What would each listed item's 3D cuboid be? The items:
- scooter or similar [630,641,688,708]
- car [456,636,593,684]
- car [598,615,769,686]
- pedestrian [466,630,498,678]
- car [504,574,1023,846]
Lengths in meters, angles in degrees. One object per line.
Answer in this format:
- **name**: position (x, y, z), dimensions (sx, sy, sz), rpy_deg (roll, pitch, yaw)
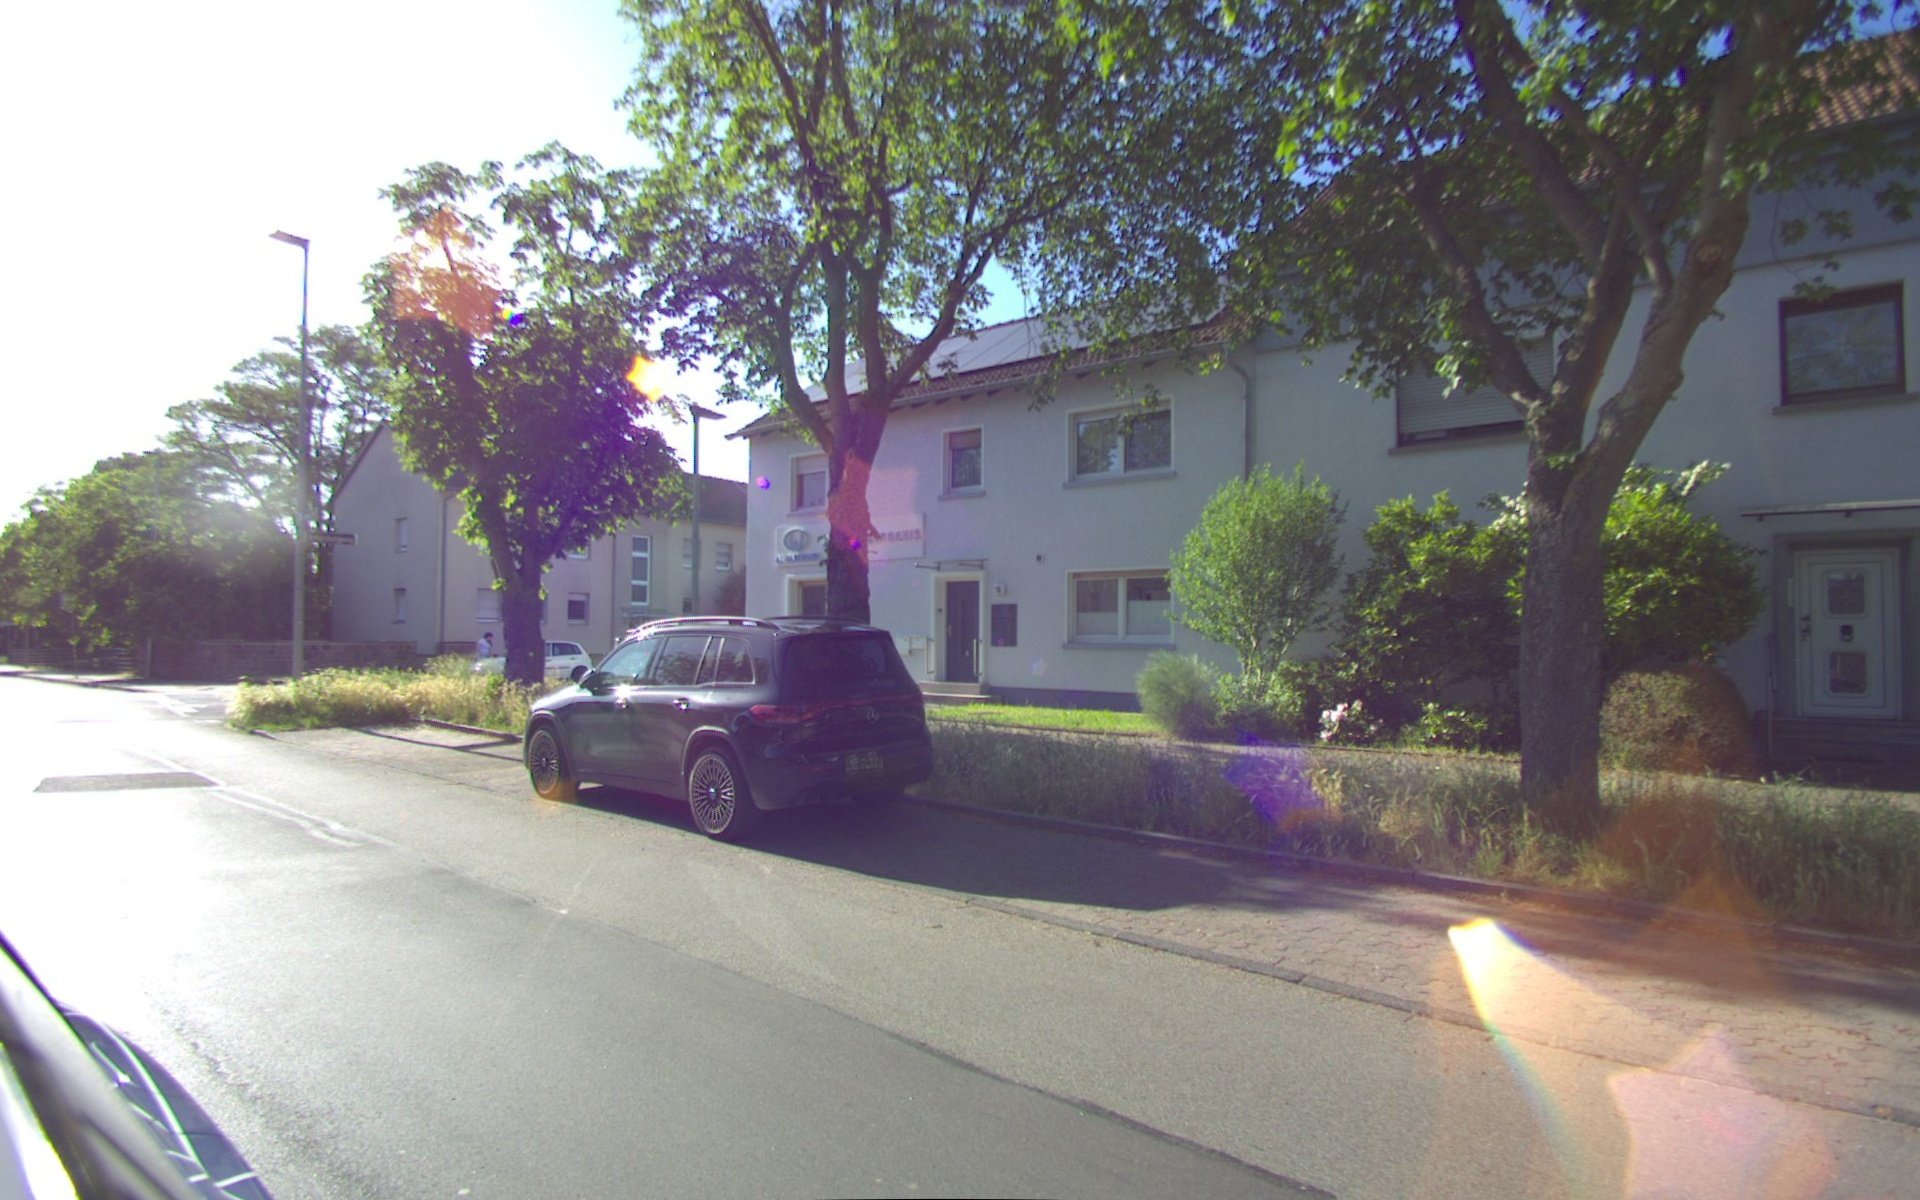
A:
- **scooter or similar**: position (-4.673, 1.144, 15.670), dimensions (0.996, 1.008, 0.332), rpy_deg (-2, -3, 38)
- **car**: position (-14.356, 1.975, 33.509), dimensions (1.868, 1.490, 3.729), rpy_deg (-4, -5, 39)
- **car**: position (-7.898, 1.465, 29.206), dimensions (1.997, 1.852, 4.445), rpy_deg (-6, -5, 38)
- **pedestrian**: position (-16.315, 1.838, 34.519), dimensions (0.638, 1.565, 0.776), rpy_deg (-4, -3, 38)
- **car**: position (-1.958, 0.756, 8.839), dimensions (4.874, 1.740, 1.932), rpy_deg (-2, -1, 42)
